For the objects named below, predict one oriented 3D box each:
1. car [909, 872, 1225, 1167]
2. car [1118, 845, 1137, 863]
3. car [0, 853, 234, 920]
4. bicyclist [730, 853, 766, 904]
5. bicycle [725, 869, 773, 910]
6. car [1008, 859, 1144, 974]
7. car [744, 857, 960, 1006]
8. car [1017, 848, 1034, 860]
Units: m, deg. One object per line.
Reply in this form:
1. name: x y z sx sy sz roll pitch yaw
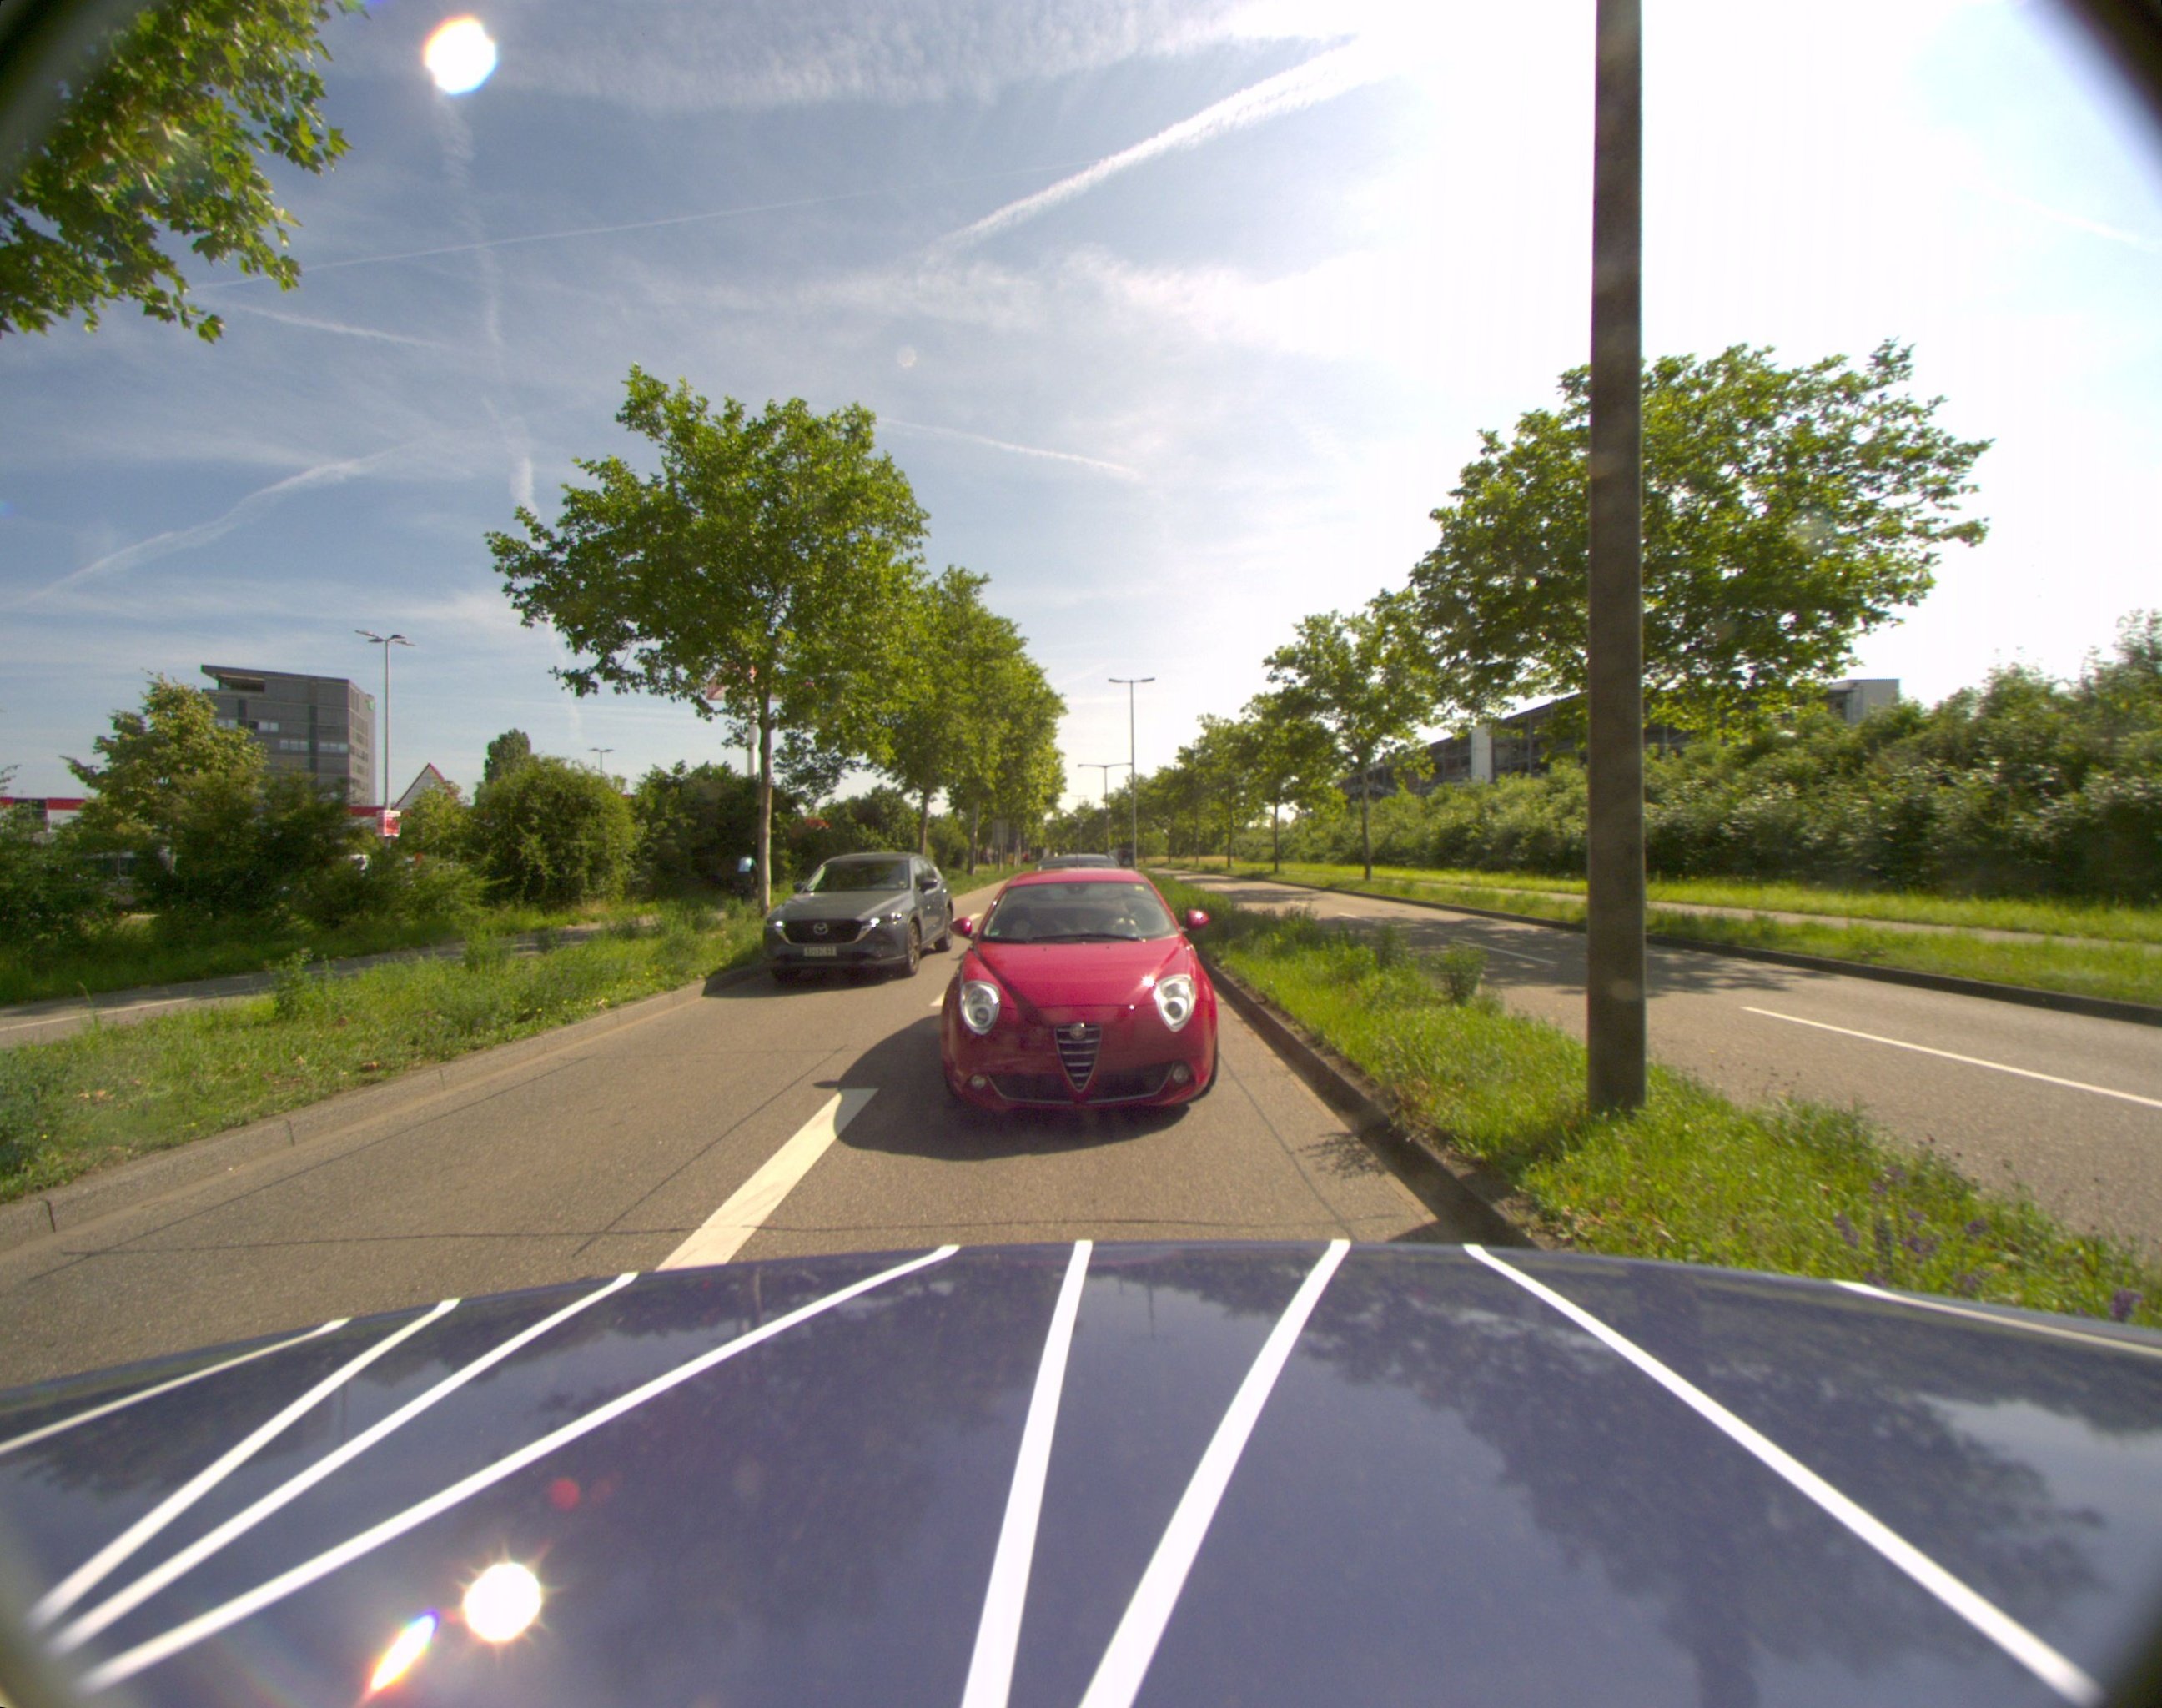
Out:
1. car: -0.049 0.949 6.071 1.658 1.430 3.908 -2 0 1
2. car: 6.315 -0.071 103.451 2.064 2.396 5.537 0 0 -3
3. car: -25.084 0.772 19.694 3.870 1.576 1.844 -1 1 -38
4. bicyclist: -10.843 0.797 24.779 0.687 1.622 1.002 0 1 1
5. bicycle: -10.839 1.138 24.849 0.687 1.230 1.934 0 1 1
6. car: -0.042 0.894 12.669 1.874 1.536 4.081 -1 0 1
7. car: -3.061 0.924 11.221 1.770 1.649 4.495 -2 0 0
8. car: -11.409 -0.008 156.138 2.067 2.396 5.995 0 0 -20
